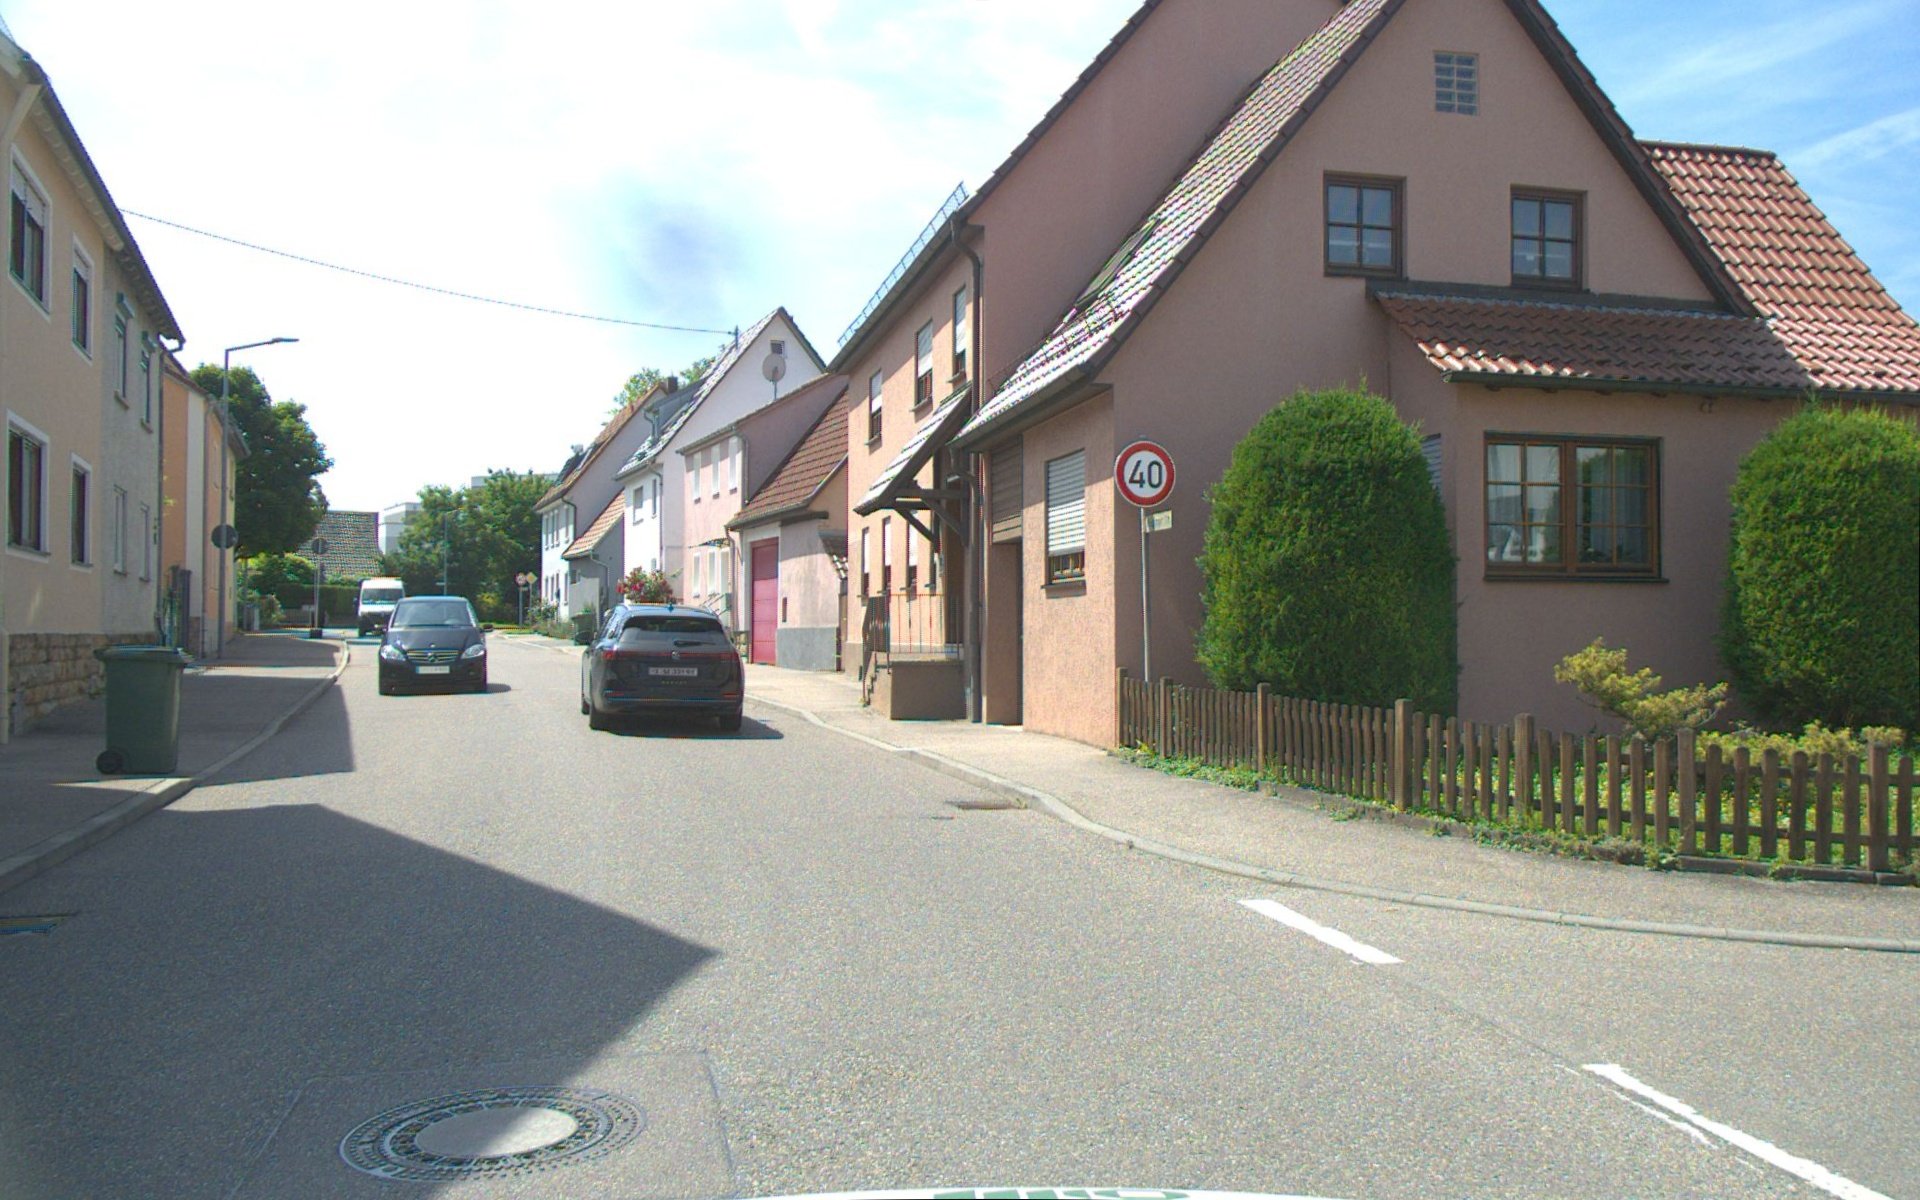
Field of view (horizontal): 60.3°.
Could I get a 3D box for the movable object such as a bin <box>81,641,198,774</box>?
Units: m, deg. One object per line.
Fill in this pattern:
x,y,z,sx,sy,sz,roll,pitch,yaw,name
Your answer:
-6.968,0.899,14.080,0.741,1.079,0.677,1,0,-15,movable object such as a bin

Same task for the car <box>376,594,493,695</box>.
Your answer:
-8.963,0.690,28.446,1.770,1.583,4.053,0,0,-16,car

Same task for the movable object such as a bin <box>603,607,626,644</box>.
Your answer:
-11.561,0.845,55.349,0.655,1.215,0.584,1,0,-21,movable object such as a bin

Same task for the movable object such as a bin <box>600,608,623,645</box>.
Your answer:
-11.801,0.892,55.950,0.655,1.215,0.656,1,0,-21,movable object such as a bin

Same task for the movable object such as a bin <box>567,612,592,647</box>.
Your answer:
-12.880,0.992,55.964,0.669,1.175,0.814,2,-1,-25,movable object such as a bin

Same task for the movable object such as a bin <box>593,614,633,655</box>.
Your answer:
-9.908,0.982,47.212,0.865,1.093,0.866,-4,2,-25,movable object such as a bin

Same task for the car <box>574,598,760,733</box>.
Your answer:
-3.728,0.723,20.439,1.811,1.445,4.662,1,0,-16,car

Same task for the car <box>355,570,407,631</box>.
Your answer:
-25.690,0.005,73.390,2.083,2.607,5.793,0,0,-20,car
